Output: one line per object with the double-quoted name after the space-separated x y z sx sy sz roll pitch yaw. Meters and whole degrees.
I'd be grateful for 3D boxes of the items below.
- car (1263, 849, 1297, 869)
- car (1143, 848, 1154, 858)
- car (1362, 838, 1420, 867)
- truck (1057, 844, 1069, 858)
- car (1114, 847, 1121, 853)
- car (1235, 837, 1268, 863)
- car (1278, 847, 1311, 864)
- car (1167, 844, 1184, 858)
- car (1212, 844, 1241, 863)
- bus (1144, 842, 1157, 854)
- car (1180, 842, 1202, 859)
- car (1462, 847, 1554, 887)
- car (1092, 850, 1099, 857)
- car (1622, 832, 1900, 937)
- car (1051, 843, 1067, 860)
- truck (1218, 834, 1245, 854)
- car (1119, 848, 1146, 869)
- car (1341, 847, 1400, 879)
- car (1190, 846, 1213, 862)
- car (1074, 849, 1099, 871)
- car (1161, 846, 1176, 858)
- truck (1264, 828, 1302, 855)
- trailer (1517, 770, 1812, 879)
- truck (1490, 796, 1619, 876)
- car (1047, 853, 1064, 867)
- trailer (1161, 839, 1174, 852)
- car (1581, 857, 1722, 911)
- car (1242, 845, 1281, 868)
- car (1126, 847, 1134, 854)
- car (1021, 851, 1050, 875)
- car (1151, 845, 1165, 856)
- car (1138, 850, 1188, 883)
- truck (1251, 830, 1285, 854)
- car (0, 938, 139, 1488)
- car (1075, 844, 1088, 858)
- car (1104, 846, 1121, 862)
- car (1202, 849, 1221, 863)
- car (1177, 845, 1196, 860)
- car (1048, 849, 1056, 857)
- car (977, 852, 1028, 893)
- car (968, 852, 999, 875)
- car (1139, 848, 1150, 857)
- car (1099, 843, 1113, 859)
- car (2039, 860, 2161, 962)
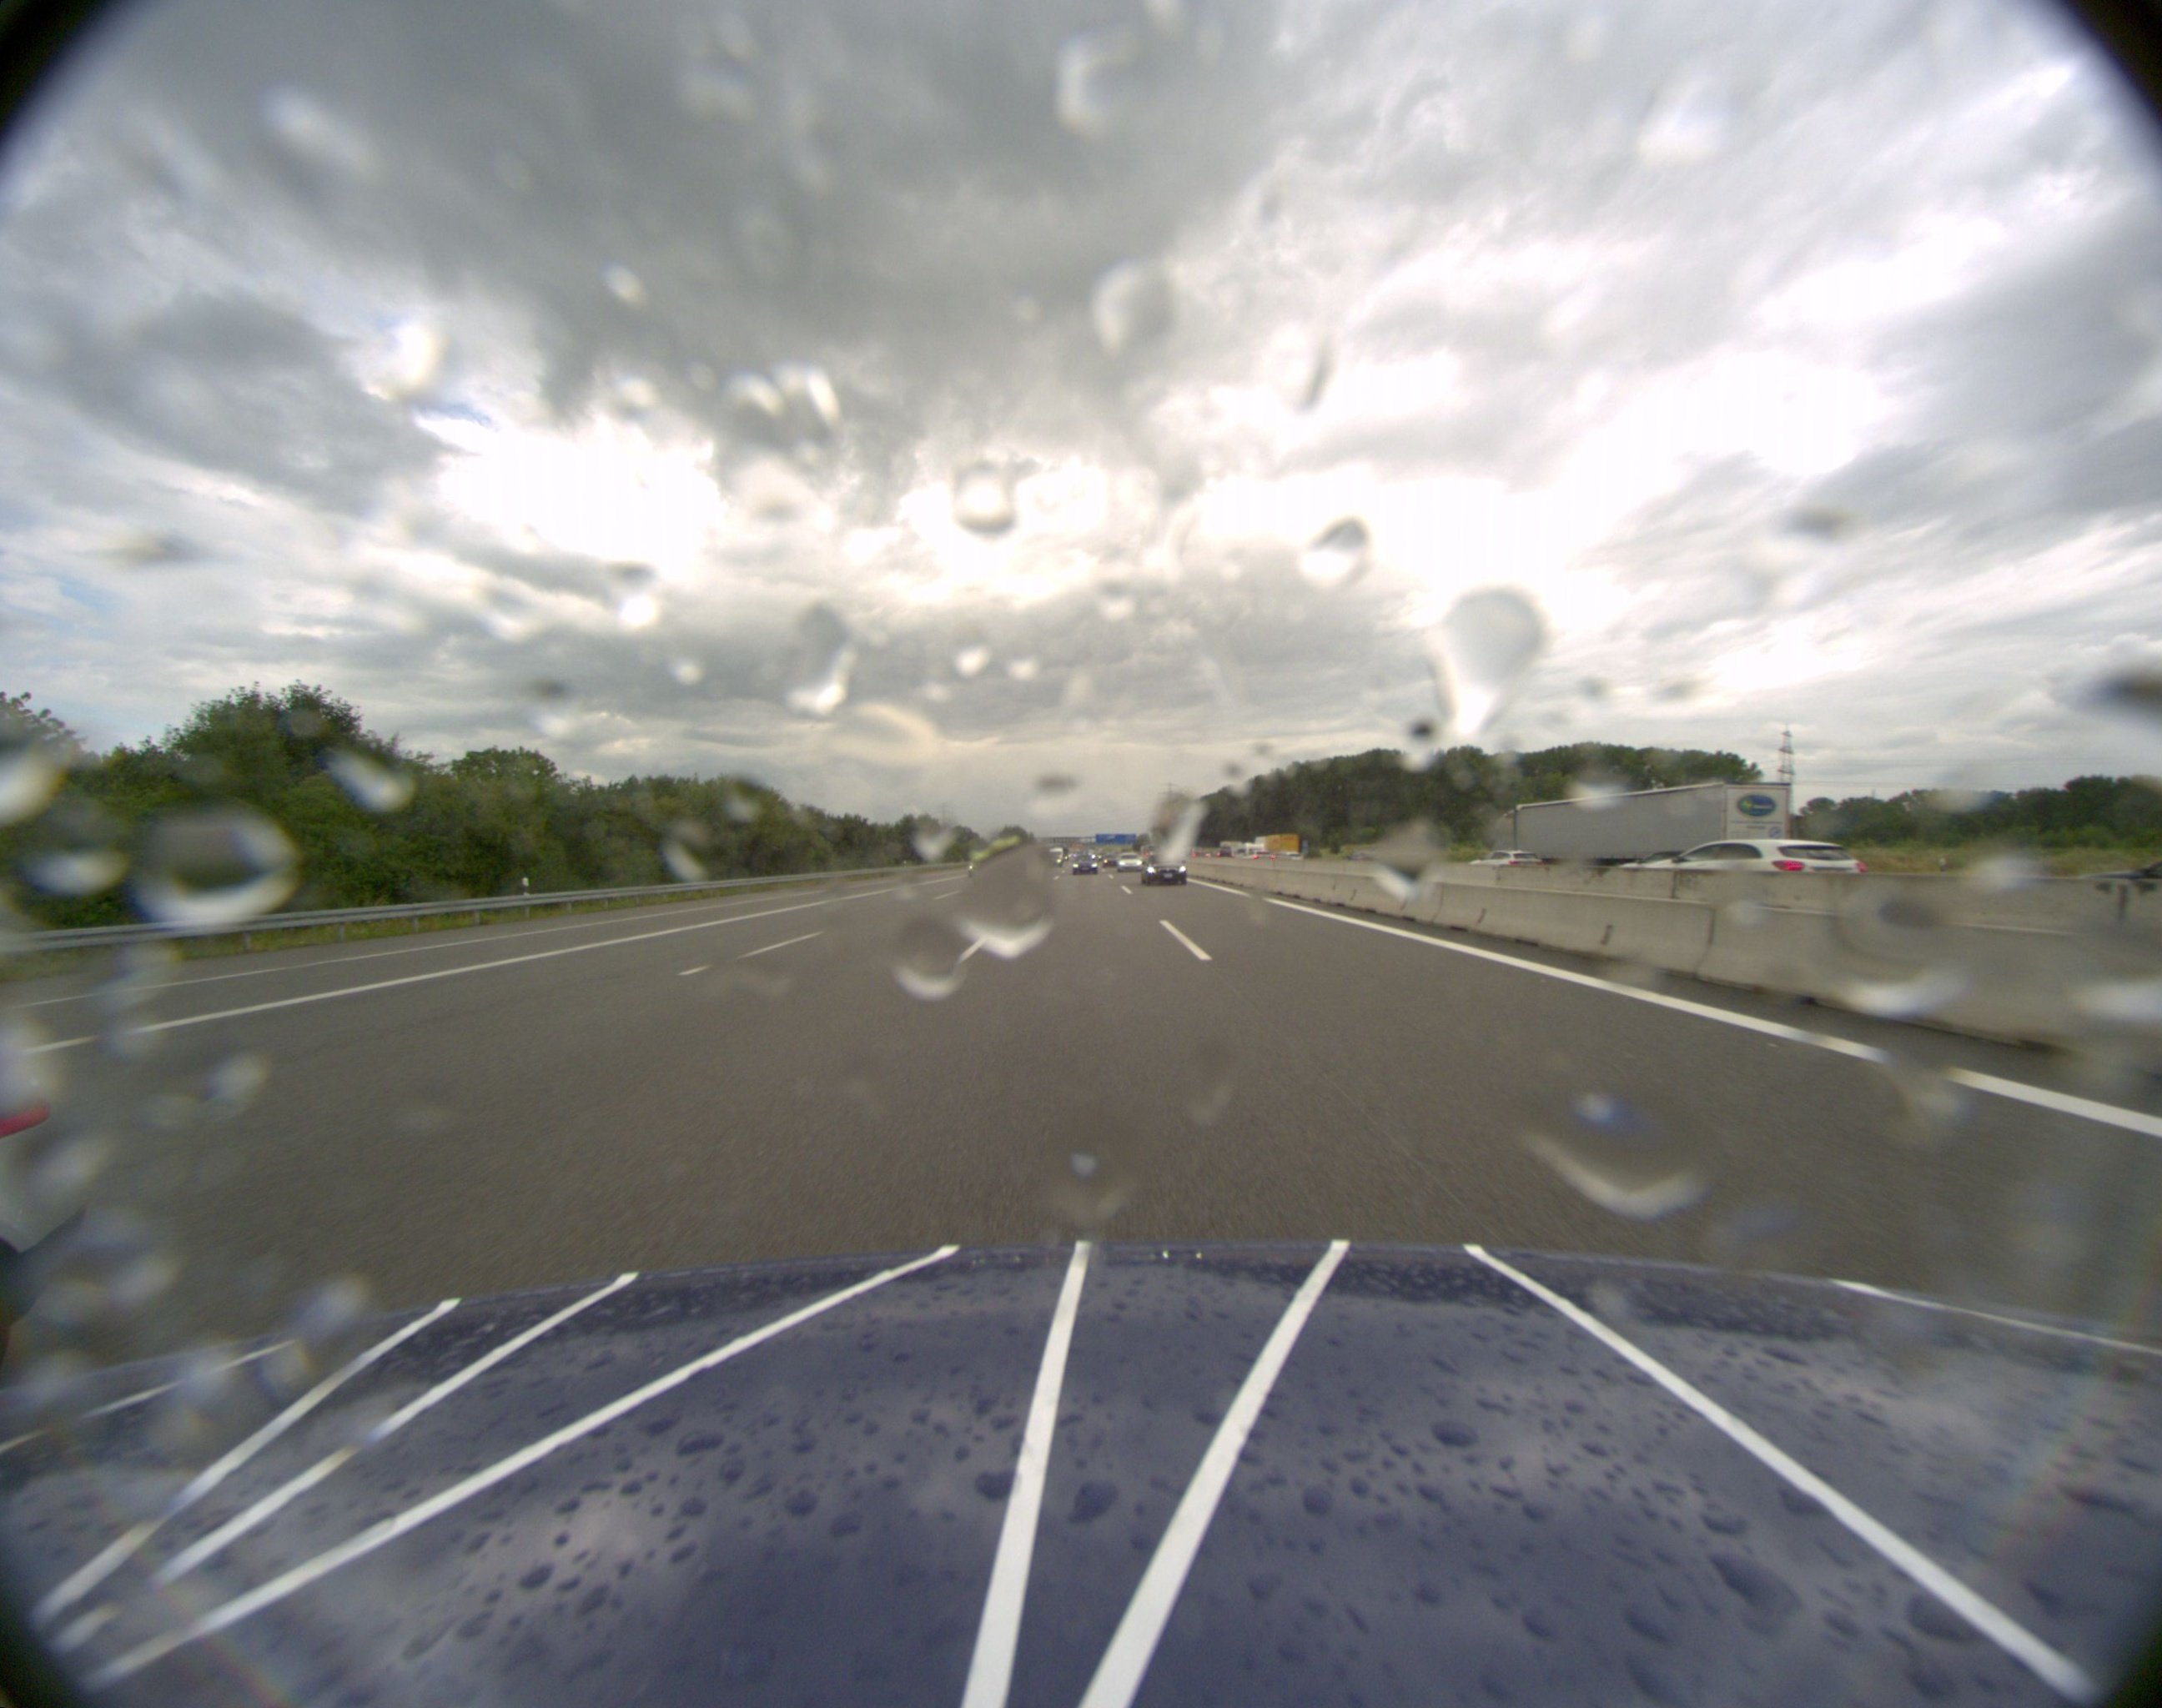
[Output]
18.652 0.424 71.375 1.998 1.705 4.698 -2 0 0 "car"
14.836 -0.210 167.536 1.999 2.002 4.695 -2 0 0 "car"
22.026 -0.124 54.233 1.998 1.862 5.392 -2 0 1 "car"
-3.803 -0.635 158.449 2.392 2.726 6.591 -2 0 -3 "truck"
12.615 -1.286 263.891 1.999 1.956 4.695 -2 0 0 "car"
22.136 -0.511 98.928 2.667 3.259 6.561 -2 0 -1 "car"
22.063 0.125 78.656 1.998 1.705 4.698 -2 0 0 "car"
14.547 -0.465 116.869 1.999 2.002 4.686 -2 0 0 "car"
14.470 -0.050 75.792 1.998 1.771 4.672 -2 0 0 "car"
20.992 -1.756 230.637 2.694 3.365 13.996 -2 0 0 "bus"
14.326 -0.463 99.059 1.999 2.002 5.757 -2 0 0 "car"
21.618 0.615 38.723 1.998 1.862 4.760 -2 0 1 "car"
4.120 -0.104 219.288 1.998 2.002 4.751 -2 1 1 "car"
14.038 0.550 16.125 1.998 1.880 4.362 -2 0 1 "car"
-3.389 -0.449 117.317 2.145 2.486 5.447 -2 0 0 "car"
26.592 -1.759 134.886 2.917 3.271 9.200 -2 0 0 "truck"
3.991 0.334 59.537 1.822 1.565 4.000 -2 0 1 "car"
18.341 0.514 48.366 1.998 1.862 4.760 -2 0 1 "car"
14.171 0.007 89.479 1.998 1.740 4.000 -2 0 0 "car"
0.448 0.436 56.749 1.711 1.562 4.346 -2 0 1 "car"
14.391 -0.358 124.928 1.998 1.893 4.503 -2 0 0 "car"
28.881 -1.767 109.065 2.885 3.592 9.580 -2 1 1 "truck"
26.048 -1.159 35.641 3.247 4.005 13.806 -2 0 0 "trailer"
26.075 -0.963 42.250 3.229 4.034 6.231 -2 1 0 "truck"
-2.977 0.660 89.332 1.945 1.482 4.774 -2 0 -2 "car"
25.837 -2.641 227.440 2.867 3.740 9.159 -1 0 0 "trailer"
21.327 1.068 28.692 1.825 1.771 4.672 -2 0 0 "car"
14.400 0.153 60.912 1.998 1.705 4.871 -2 0 0 "car"
14.066 -1.037 218.090 1.999 1.956 4.695 -2 0 0 "car"
-3.249 0.596 54.959 1.711 1.621 4.457 -2 0 1 "car"
14.652 -0.676 144.540 1.999 2.002 5.417 -2 0 0 "car"
3.696 0.537 34.889 1.922 1.407 4.000 -1 0 1 "car"
29.044 -1.829 118.465 2.885 3.592 10.311 -2 1 1 "truck"
-3.873 1.035 0.347 1.800 1.468 4.037 -2 0 0 "car"
0.118 -0.498 140.209 2.145 2.486 5.447 -2 0 1 "car"
3.298 -0.019 80.124 1.711 1.621 4.000 -2 0 1 "car"
19.455 0.322 113.176 1.998 2.002 4.813 -2 0 0 "car"
14.903 -0.274 107.335 1.998 2.002 4.424 -2 0 0 "car"
-7.521 -0.220 198.301 1.999 2.002 4.354 -2 0 -1 "car"
-3.306 0.736 32.710 1.785 1.603 4.597 -2 0 -1 "car"
-7.451 0.696 58.476 1.815 1.589 4.694 -2 0 -1 "car"
14.650 -0.339 175.368 1.999 1.956 4.695 -2 0 0 "car"
4.111 -0.514 125.743 2.145 2.486 5.448 -2 0 2 "car"
21.448 1.098 13.855 1.998 1.862 4.760 -2 0 1 "car"
